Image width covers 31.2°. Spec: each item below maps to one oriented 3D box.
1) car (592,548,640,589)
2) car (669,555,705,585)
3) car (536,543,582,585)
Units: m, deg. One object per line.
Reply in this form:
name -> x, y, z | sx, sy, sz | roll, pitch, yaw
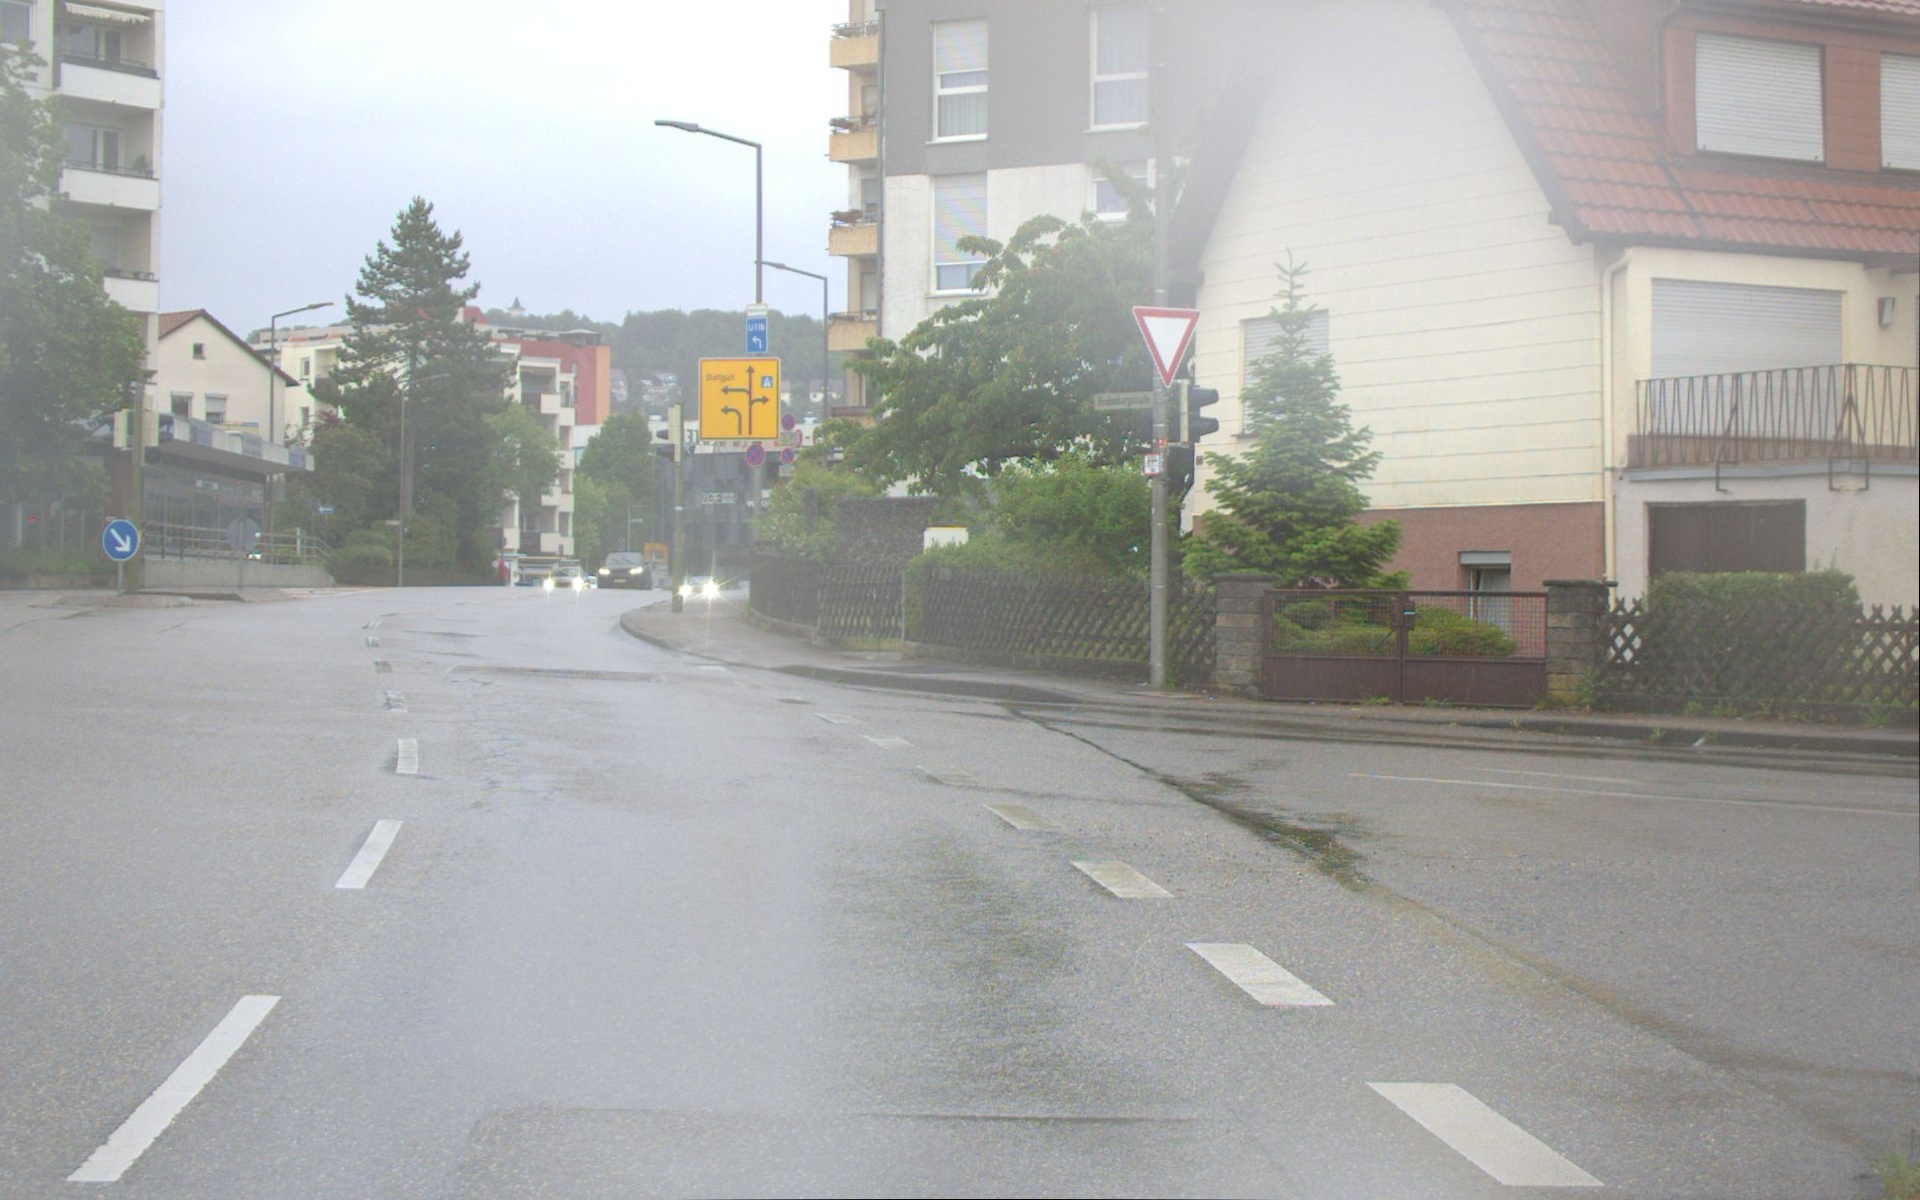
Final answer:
car -> -15.155, -1.398, 151.132 | 1.993, 1.731, 5.182 | 1, 1, -7
car -> -15.543, -1.708, 195.483 | 1.993, 1.673, 4.001 | 1, 1, -5
car -> -18.689, -1.693, 160.298 | 1.993, 1.897, 4.001 | 1, 1, -5
